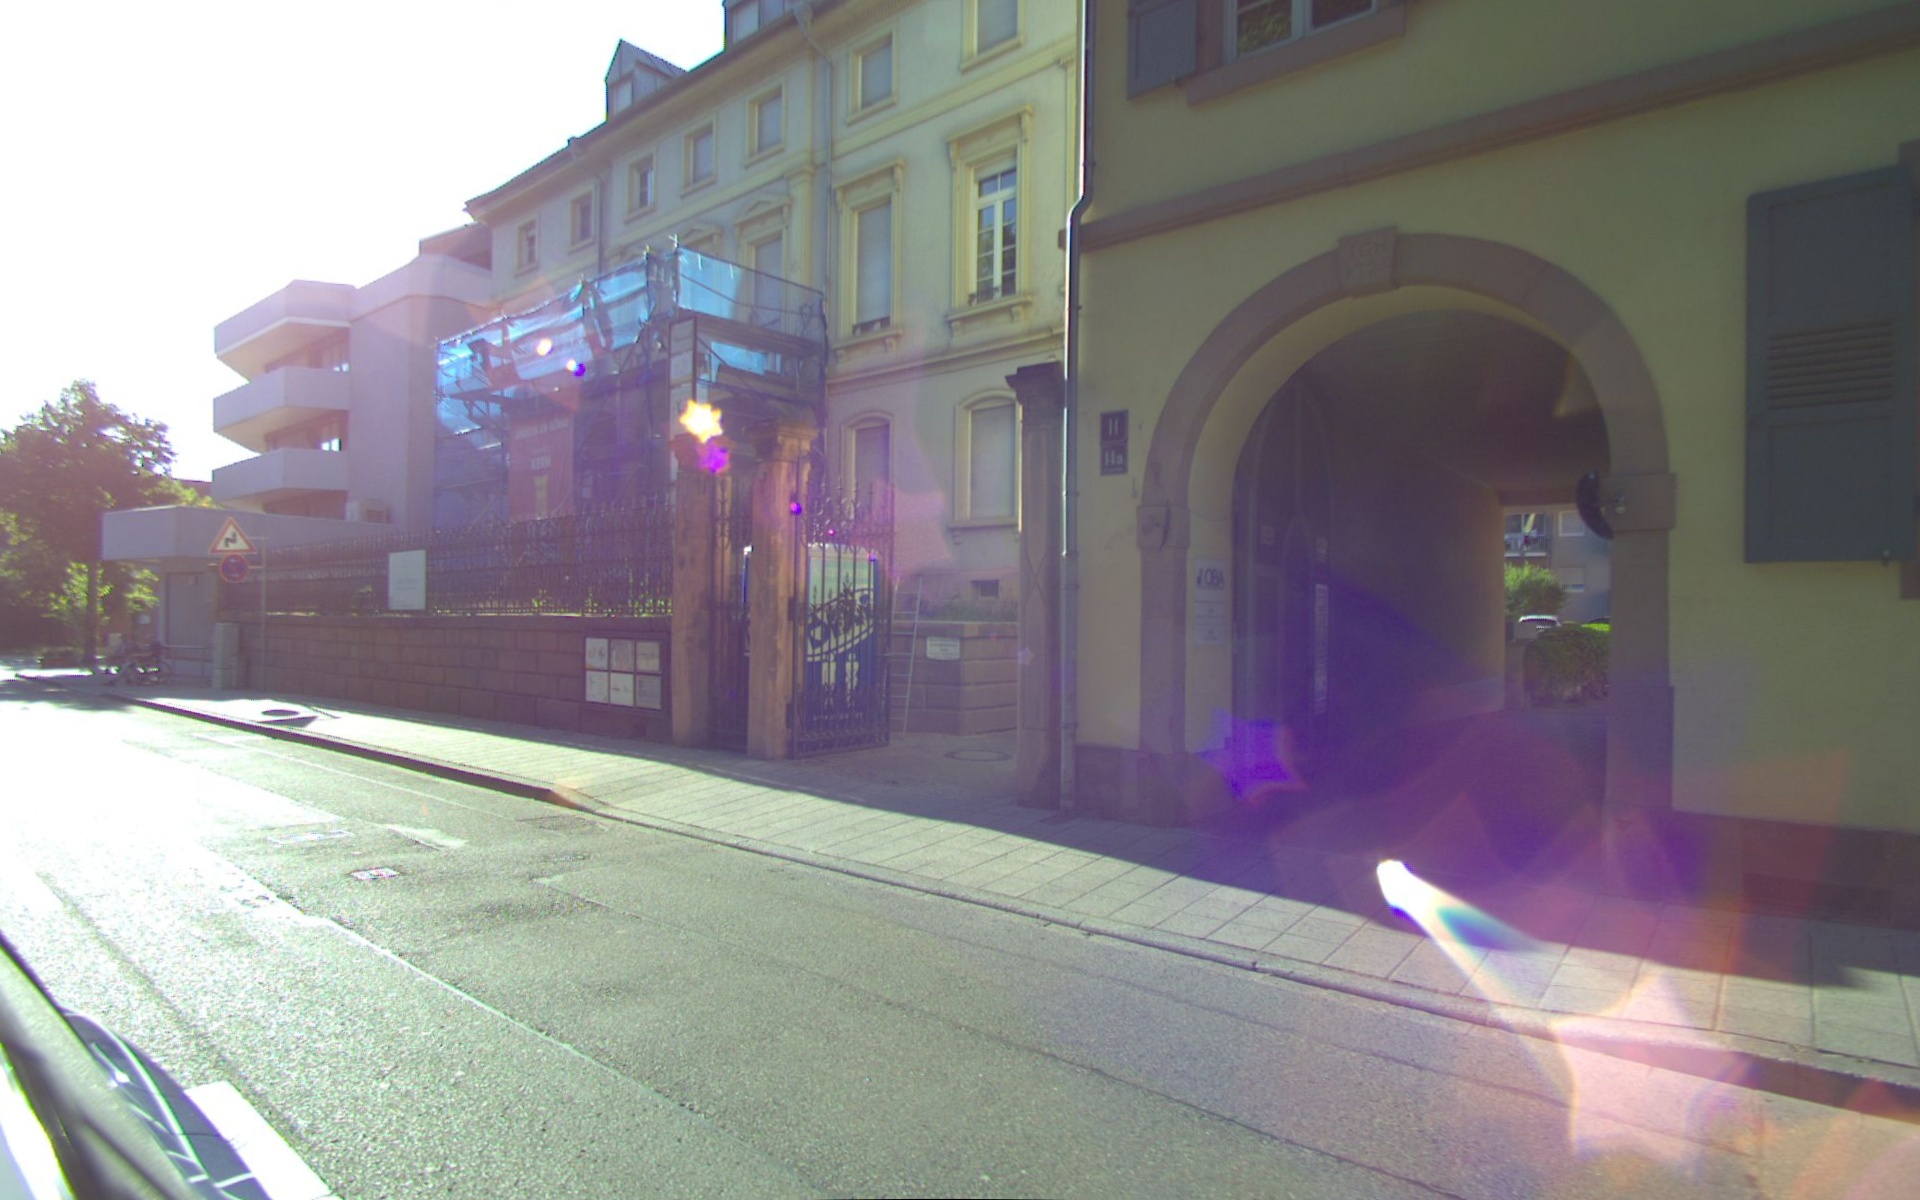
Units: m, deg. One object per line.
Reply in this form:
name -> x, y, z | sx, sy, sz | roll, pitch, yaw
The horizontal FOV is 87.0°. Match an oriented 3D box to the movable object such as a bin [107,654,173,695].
movable object such as a bin -> -20.608, 1.872, 25.452 | 1.020, 0.935, 0.843 | -1, 0, -15

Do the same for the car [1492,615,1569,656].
car -> 20.721, 1.271, 36.687 | 1.819, 1.384, 3.948 | -1, -2, 39

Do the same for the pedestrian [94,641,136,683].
pedestrian -> -25.152, 1.824, 30.123 | 0.838, 1.194, 0.734 | -1, 0, 34

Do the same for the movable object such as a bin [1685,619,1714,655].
movable object such as a bin -> 32.101, 1.612, 43.932 | 1.008, 1.545, 0.824 | -1, -2, 37

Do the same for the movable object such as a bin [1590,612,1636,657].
movable object such as a bin -> 20.722, 1.100, 32.125 | 1.094, 1.404, 1.033 | -1, -2, 40

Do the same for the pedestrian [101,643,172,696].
pedestrian -> -20.682, 1.724, 25.440 | 1.139, 1.238, 0.843 | -1, 0, -15

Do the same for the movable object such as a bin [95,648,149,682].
movable object such as a bin -> -25.050, 1.926, 30.259 | 0.838, 0.935, 1.026 | -1, 0, 33
